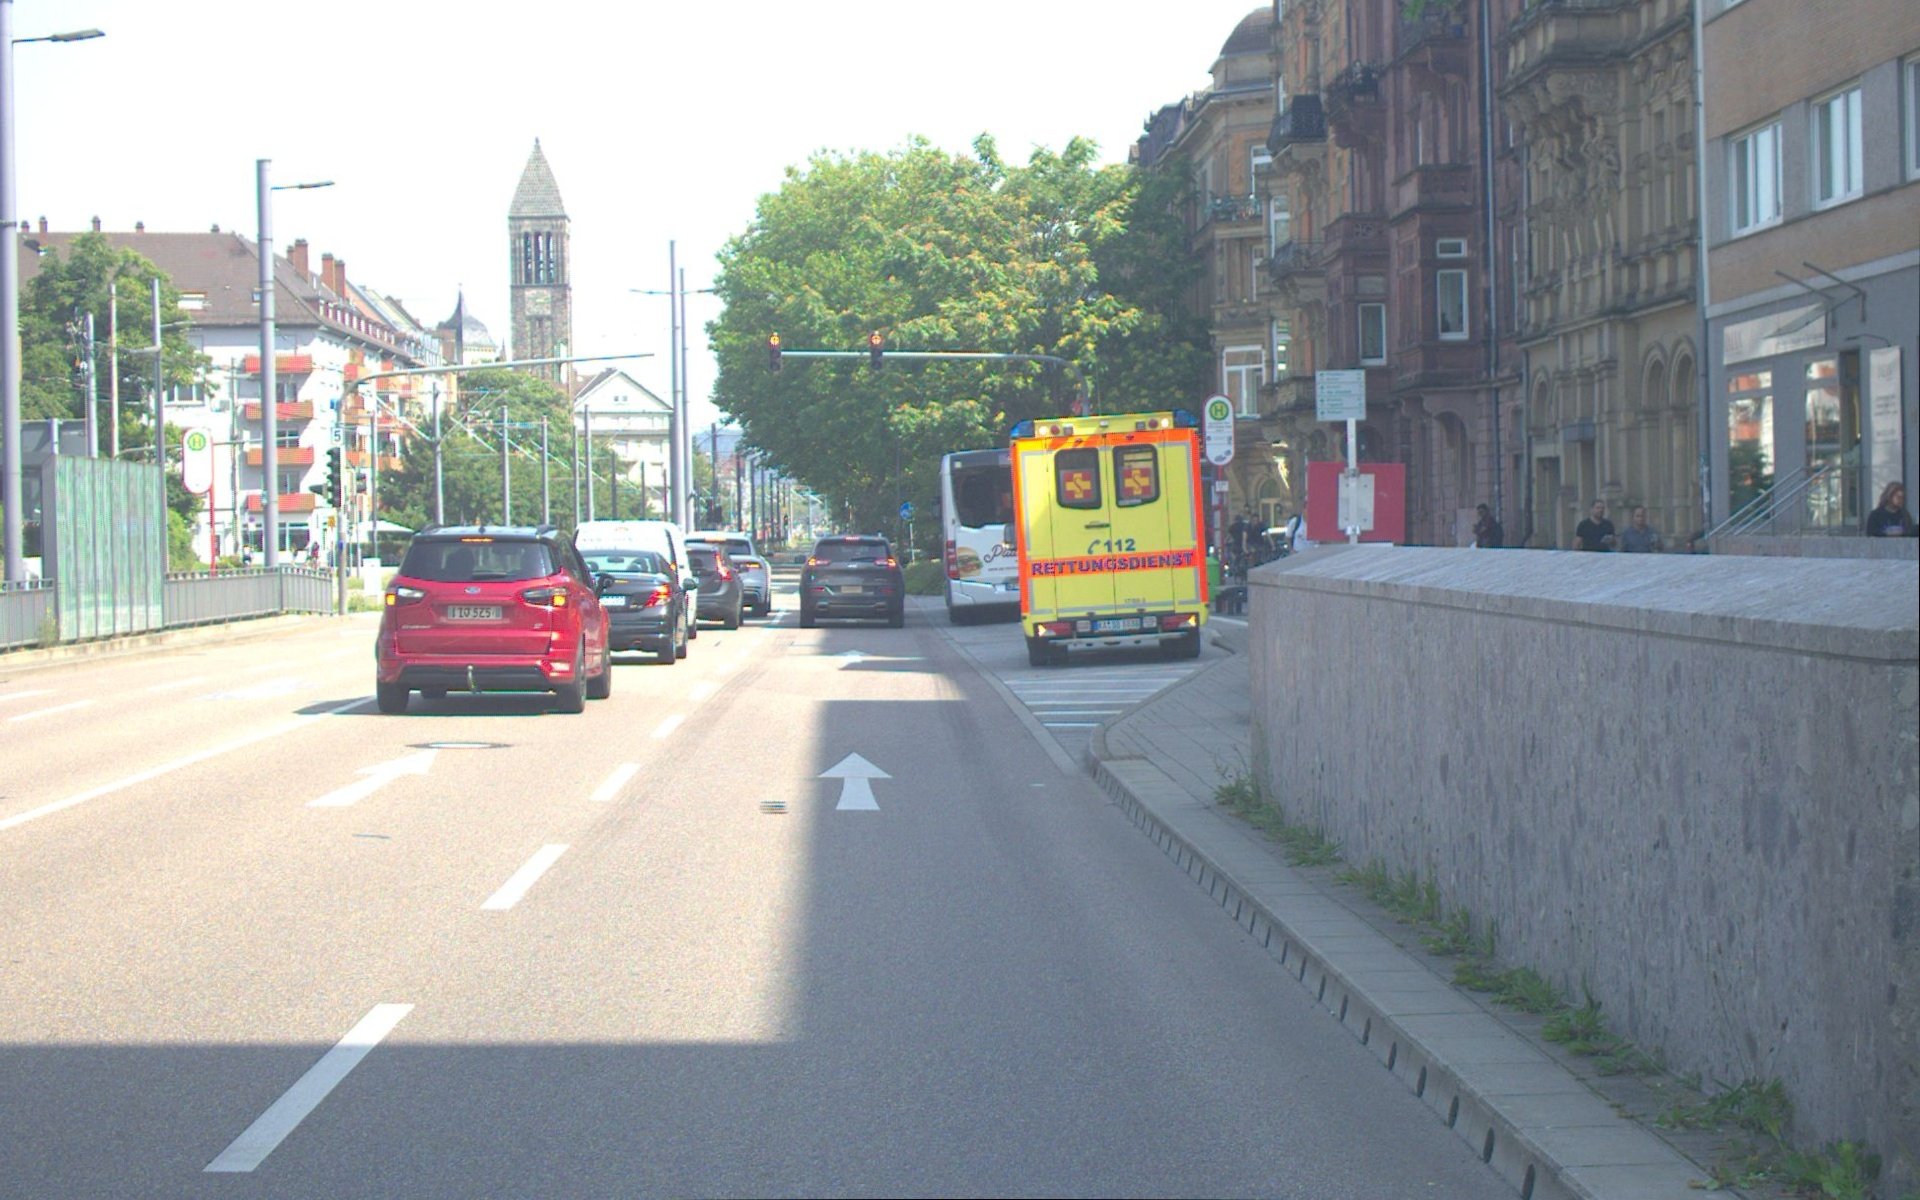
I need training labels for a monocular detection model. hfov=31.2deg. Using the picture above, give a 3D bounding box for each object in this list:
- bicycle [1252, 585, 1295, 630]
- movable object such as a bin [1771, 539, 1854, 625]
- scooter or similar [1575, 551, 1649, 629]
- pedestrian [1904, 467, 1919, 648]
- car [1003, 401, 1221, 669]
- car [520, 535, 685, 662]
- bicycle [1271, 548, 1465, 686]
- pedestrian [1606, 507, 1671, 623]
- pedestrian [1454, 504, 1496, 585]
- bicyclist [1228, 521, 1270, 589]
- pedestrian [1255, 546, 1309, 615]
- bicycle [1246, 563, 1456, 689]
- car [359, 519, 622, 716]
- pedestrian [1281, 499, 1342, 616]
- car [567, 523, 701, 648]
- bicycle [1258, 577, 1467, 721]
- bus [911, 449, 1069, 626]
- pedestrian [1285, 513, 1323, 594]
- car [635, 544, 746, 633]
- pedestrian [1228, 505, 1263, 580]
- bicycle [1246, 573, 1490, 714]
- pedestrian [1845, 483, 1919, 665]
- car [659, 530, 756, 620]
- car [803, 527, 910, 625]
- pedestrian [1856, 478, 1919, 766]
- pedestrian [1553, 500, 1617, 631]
[{"bbox_3d":[6.249,0.142,68.620,0.589,0.852,1.776,-1,1,-3],"label":"bicycle"},{"bbox_3d":[10.628,-0.229,42.876,0.646,1.044,0.764,-3,2,-45],"label":"movable object such as a bin"},{"bbox_3d":[10.177,-0.167,53.702,0.512,1.192,1.304,-1,1,-21],"label":"scooter or similar"},{"bbox_3d":[9.770,-0.435,33.823,0.599,1.789,0.880,-3,1,-2],"label":"pedestrian"},{"bbox_3d":[1.784,-0.786,40.782,2.299,2.878,5.599,-2,1,2],"label":"car"},{"bbox_3d":[-4.327,-0.056,42.075,1.790,1.426,4.001,-1,1,-3],"label":"car"},{"bbox_3d":[3.628,0.147,30.656,1.674,1.211,0.644,0,1,4],"label":"bicycle"},{"bbox_3d":[8.829,-0.457,44.732,0.643,1.488,0.789,-1,1,-2],"label":"pedestrian"},{"bbox_3d":[10.232,-1.100,68.280,0.622,1.587,0.696,-1,1,-7],"label":"pedestrian"},{"bbox_3d":[5.767,-0.900,68.591,0.753,1.317,0.582,-1,1,-2],"label":"bicyclist"},{"bbox_3d":[8.570,-0.521,91.639,1.249,1.745,1.526,-1,3,-1],"label":"pedestrian"},{"bbox_3d":[3.395,0.225,29.958,1.776,1.068,0.644,0,1,3],"label":"bicycle"},{"bbox_3d":[-4.128,0.104,30.802,1.762,1.612,4.082,-1,1,0],"label":"car"},{"bbox_3d":[5.072,-0.616,49.576,0.697,1.661,0.602,0,1,24],"label":"pedestrian"},{"bbox_3d":[-4.841,-0.220,51.472,1.790,1.774,4.000,-1,0,-3],"label":"car"},{"bbox_3d":[3.053,0.370,26.125,1.537,1.068,0.365,0,2,-1],"label":"bicycle"},{"bbox_3d":[0.430,-1.190,65.622,2.533,3.021,12.437,-1,1,-2],"label":"bus"},{"bbox_3d":[7.108,-0.954,71.048,0.697,1.661,0.603,-1,1,1],"label":"pedestrian"},{"bbox_3d":[-4.655,-0.208,59.825,1.790,1.467,4.000,-1,0,-3],"label":"car"},{"bbox_3d":[6.456,-1.305,77.850,0.697,1.661,1.064,-1,1,0],"label":"pedestrian"},{"bbox_3d":[3.147,0.331,26.577,1.835,1.068,0.365,0,2,-1],"label":"bicycle"},{"bbox_3d":[9.155,-0.258,33.887,0.577,1.744,0.679,-3,1,-2],"label":"pedestrian"},{"bbox_3d":[-4.948,-0.483,67.745,1.790,1.692,4.000,-1,0,-3],"label":"car"},{"bbox_3d":[-1.873,-0.419,61.204,1.790,1.672,4.000,-1,0,-3],"label":"car"},{"bbox_3d":[6.129,0.111,21.434,0.850,1.723,0.971,-2,3,5],"label":"pedestrian"},{"bbox_3d":[8.134,-0.451,44.768,0.643,1.679,0.789,-1,1,-2],"label":"pedestrian"}]
